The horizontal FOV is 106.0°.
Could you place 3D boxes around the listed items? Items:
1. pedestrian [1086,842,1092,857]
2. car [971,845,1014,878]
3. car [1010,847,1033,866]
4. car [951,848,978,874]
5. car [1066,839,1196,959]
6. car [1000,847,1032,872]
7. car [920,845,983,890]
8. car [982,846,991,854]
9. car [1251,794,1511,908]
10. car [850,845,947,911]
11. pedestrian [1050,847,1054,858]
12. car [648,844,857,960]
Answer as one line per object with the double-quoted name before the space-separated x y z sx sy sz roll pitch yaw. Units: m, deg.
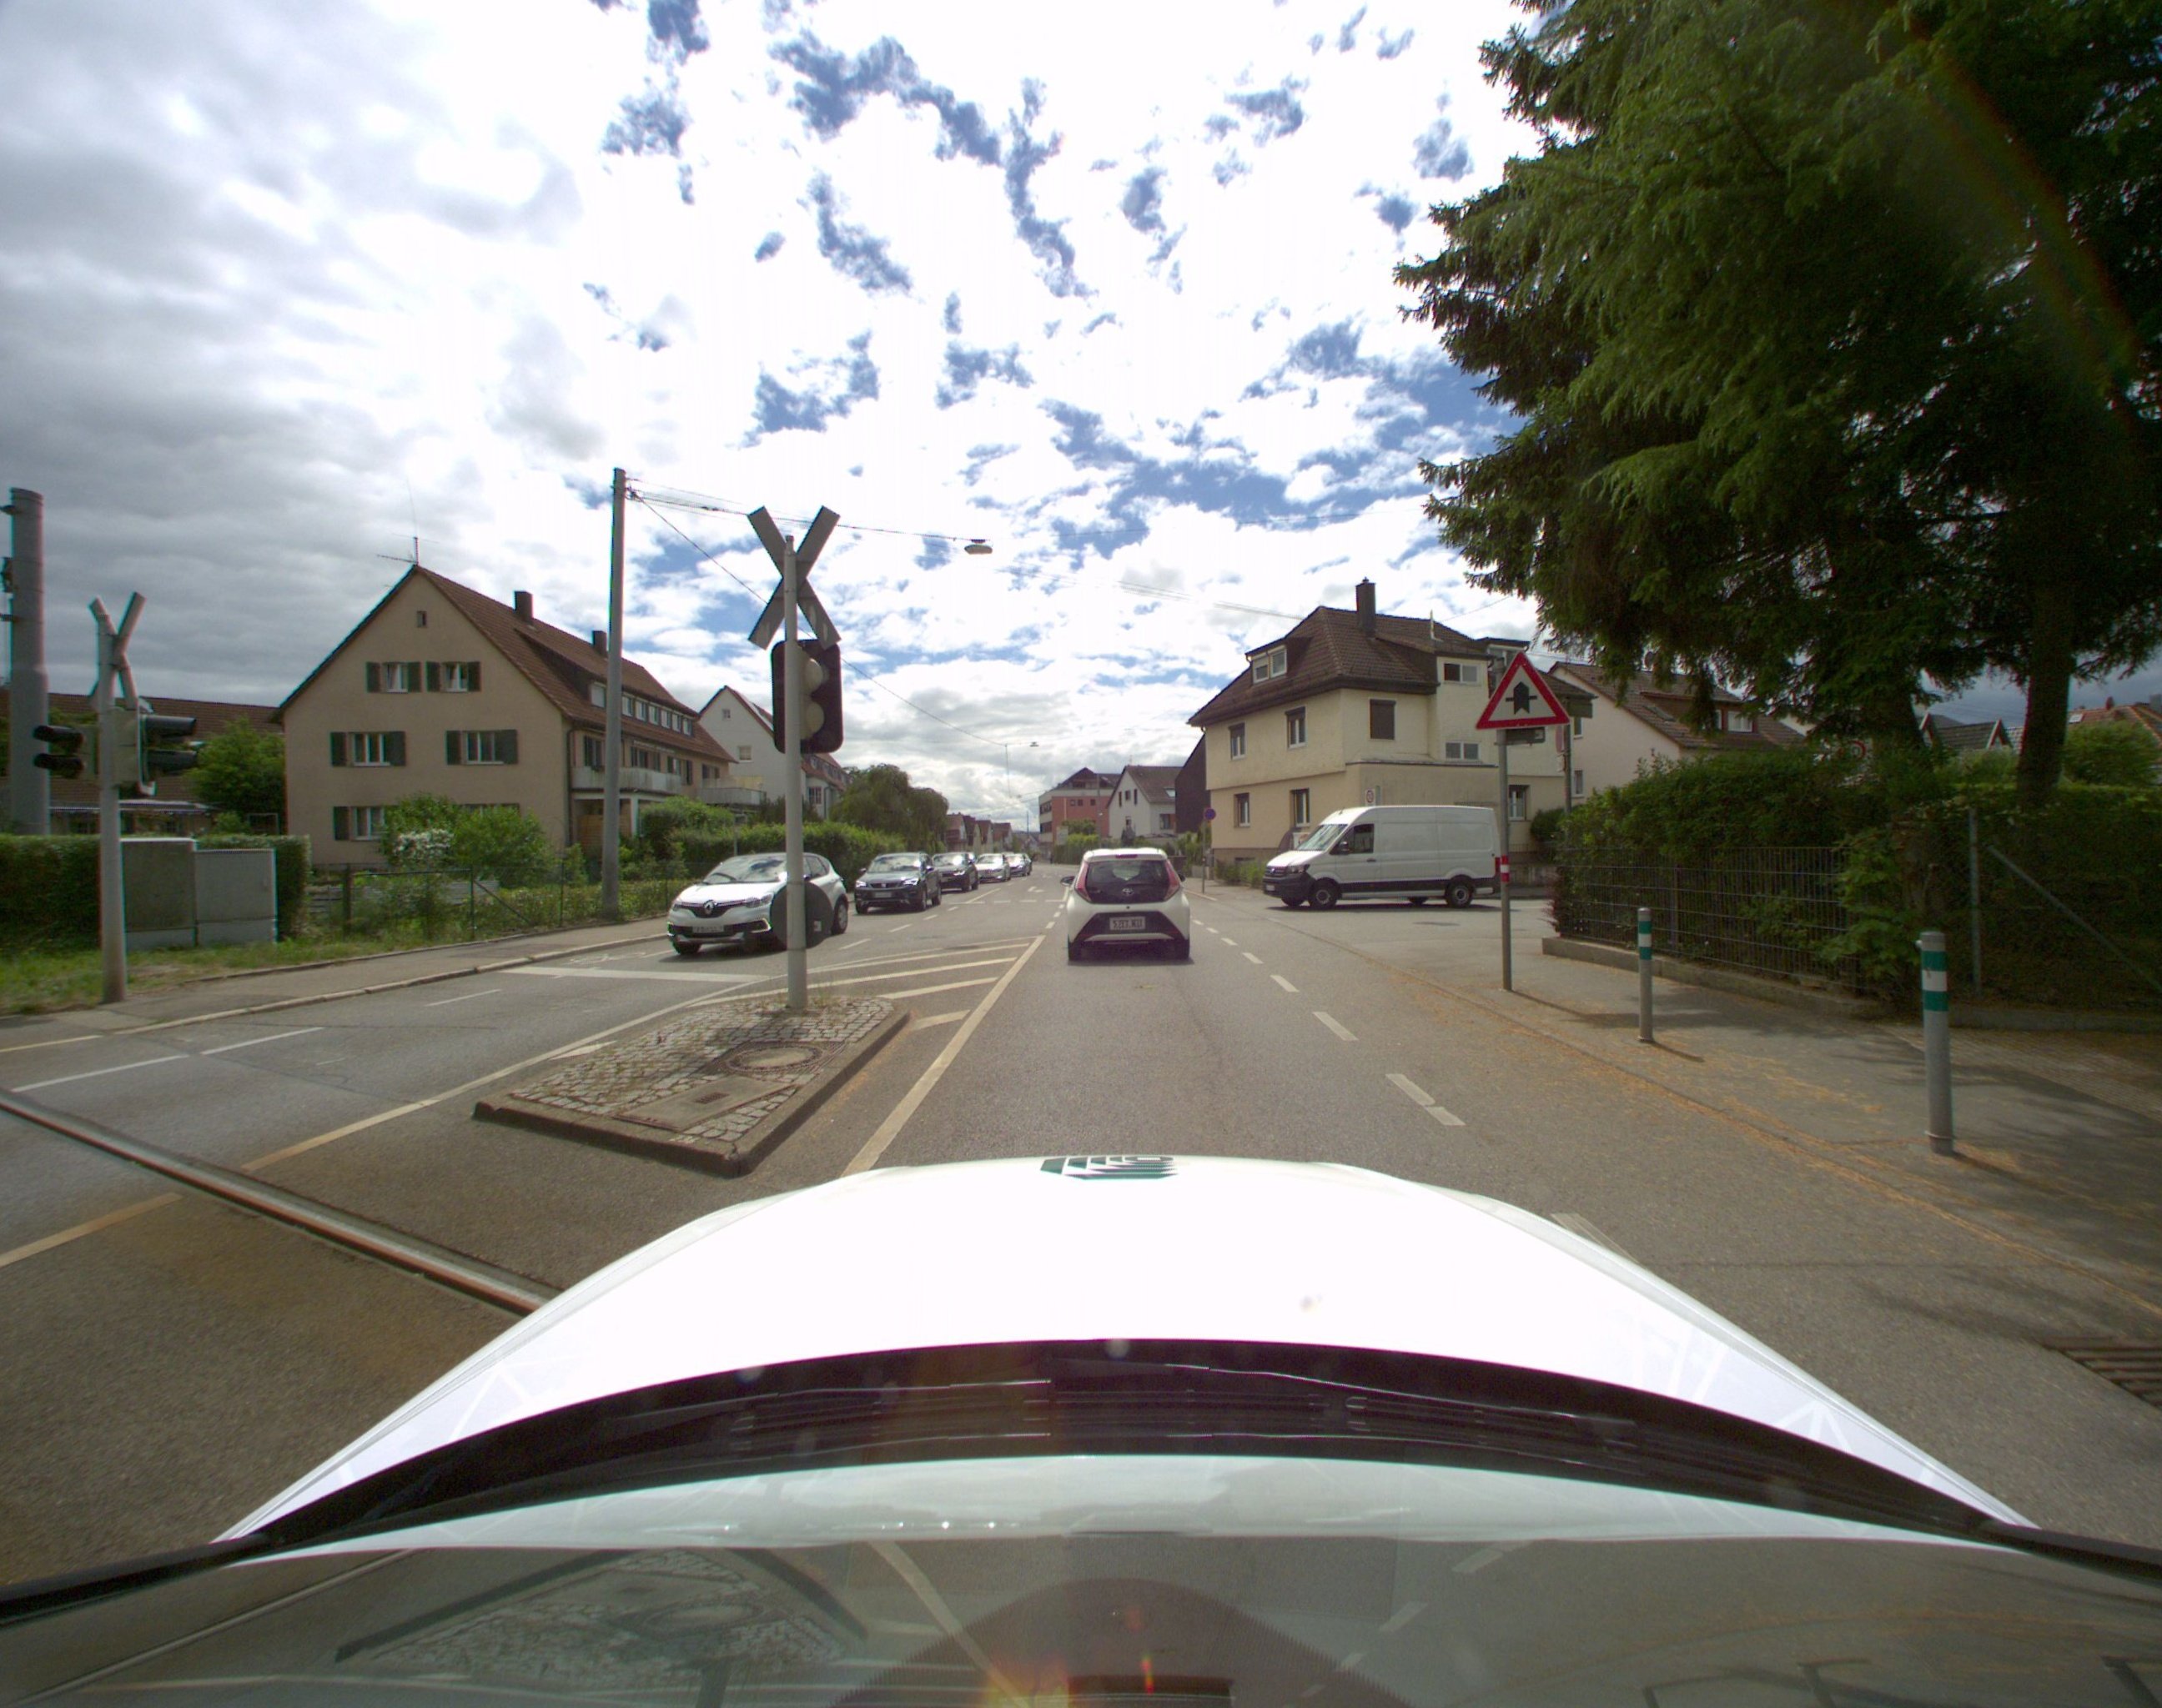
"pedestrian" 0.809 -0.461 83.083 0.414 1.437 0.435 -1 1 -16
"car" -4.781 0.366 44.492 1.769 1.561 4.169 -4 1 0
"car" -5.098 0.169 70.077 1.770 1.430 4.005 -3 1 -2
"car" -9.002 0.493 63.170 1.773 1.846 4.000 -4 1 -6
"car" 0.607 0.560 12.235 1.616 1.486 3.999 -1 0 -1
"car" -4.233 0.339 53.453 1.770 1.430 4.519 -4 1 -2
"car" -5.229 0.491 33.357 1.769 1.603 4.169 -4 1 0
"car" -20.056 -0.830 172.983 1.991 1.684 3.991 0 0 -7
"car" 7.537 -0.135 20.620 5.997 2.581 1.993 -2 1 -11
"car" -5.021 0.593 22.944 1.769 1.603 4.038 -2 1 0
"pedestrian" -3.773 -0.174 106.805 0.413 1.437 0.436 -1 1 -8
"car" -5.348 0.676 13.891 1.768 1.603 4.040 -2 1 1
